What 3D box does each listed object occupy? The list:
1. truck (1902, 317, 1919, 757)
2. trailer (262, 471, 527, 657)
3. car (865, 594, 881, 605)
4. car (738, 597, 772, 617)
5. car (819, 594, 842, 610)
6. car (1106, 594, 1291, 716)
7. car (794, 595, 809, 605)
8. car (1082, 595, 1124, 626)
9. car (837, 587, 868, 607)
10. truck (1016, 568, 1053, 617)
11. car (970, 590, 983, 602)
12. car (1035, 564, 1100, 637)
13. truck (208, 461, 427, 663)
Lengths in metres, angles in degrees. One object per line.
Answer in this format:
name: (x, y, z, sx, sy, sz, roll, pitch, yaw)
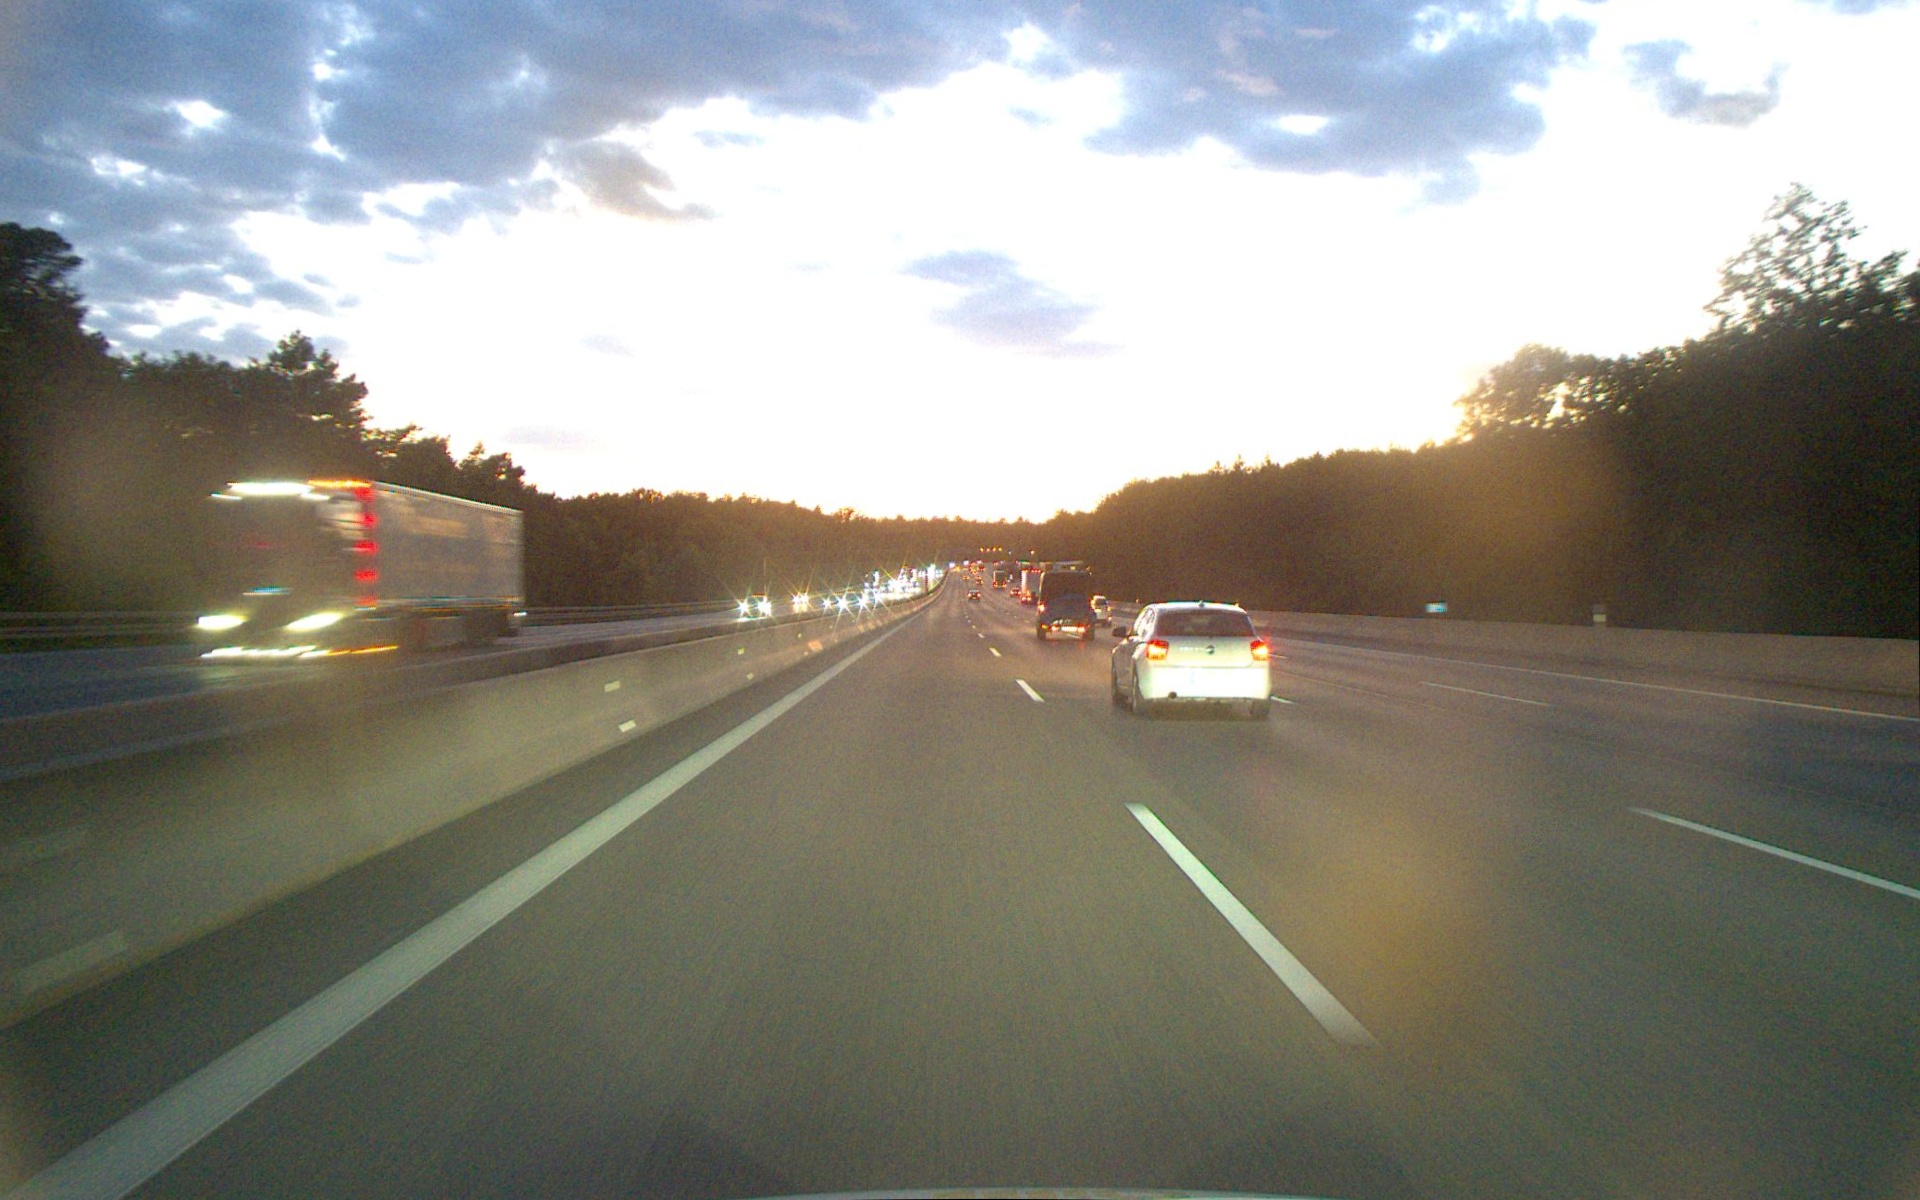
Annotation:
truck: (10.548, -0.576, 10.585, 2.826, 4.172, 10.830, 0, 0, 0)
trailer: (-14.613, -0.840, 44.449, 2.596, 4.204, 14.322, 0, 0, -2)
car: (-11.292, -0.094, 214.452, 1.799, 1.463, 4.000, 0, 0, 0)
car: (-14.810, 0.487, 119.532, 1.873, 1.449, 4.746, 0, 0, 0)
car: (-11.872, 0.131, 152.247, 1.811, 1.438, 4.790, 0, 0, -1)
car: (3.080, 0.680, 22.047, 1.822, 1.467, 3.719, 1, 0, -2)
car: (-22.409, 0.016, 233.943, 1.799, 1.463, 4.000, 0, 0, 0)
car: (7.345, 0.520, 85.152, 1.966, 1.565, 4.001, 0, 0, 2)
car: (-8.032, -0.242, 124.044, 1.953, 1.449, 5.145, 0, 0, 0)
truck: (9.423, -0.972, 211.185, 4.064, 5.958, 14.296, 0, 0, 0)
car: (2.314, -0.581, 230.669, 1.798, 1.598, 4.001, 0, 0, 2)
car: (3.729, 0.011, 58.131, 2.121, 2.461, 5.565, 0, 0, 2)
truck: (-14.387, -0.803, 37.616, 2.596, 4.204, 6.522, 0, 0, -2)
